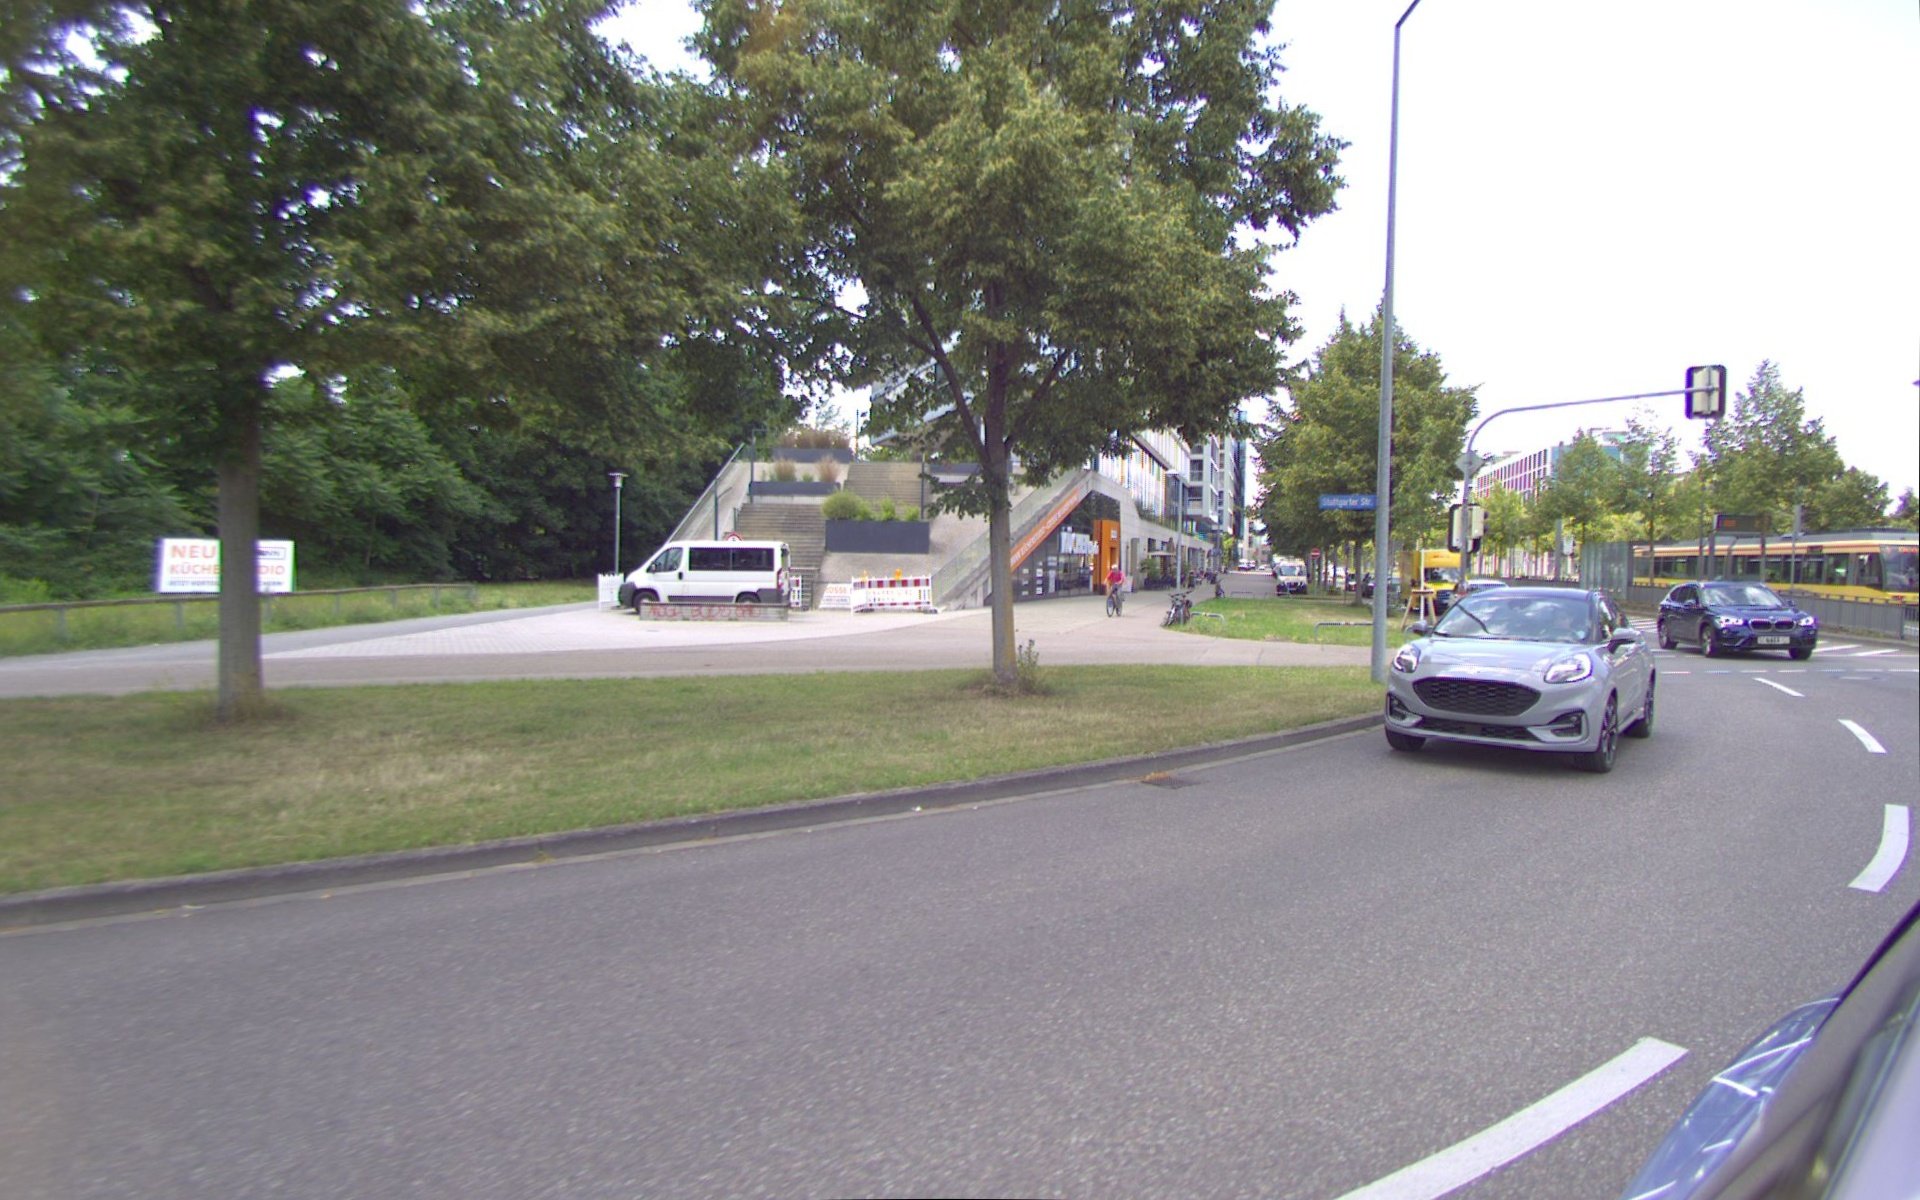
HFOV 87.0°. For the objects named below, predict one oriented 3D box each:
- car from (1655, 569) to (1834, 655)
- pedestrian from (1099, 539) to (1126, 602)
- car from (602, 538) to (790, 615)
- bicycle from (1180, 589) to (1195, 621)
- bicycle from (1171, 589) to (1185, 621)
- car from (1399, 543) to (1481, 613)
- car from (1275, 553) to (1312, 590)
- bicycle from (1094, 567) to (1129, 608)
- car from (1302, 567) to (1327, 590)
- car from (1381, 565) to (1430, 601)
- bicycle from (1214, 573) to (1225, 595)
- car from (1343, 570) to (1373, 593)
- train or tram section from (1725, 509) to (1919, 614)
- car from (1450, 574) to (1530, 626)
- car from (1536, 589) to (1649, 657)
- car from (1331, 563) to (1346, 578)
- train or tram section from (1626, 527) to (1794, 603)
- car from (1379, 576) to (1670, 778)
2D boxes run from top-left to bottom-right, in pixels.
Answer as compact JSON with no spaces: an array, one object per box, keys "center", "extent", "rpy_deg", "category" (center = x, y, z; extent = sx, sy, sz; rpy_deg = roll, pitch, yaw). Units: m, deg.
[{"center":[17.053,0.191,22.242],"extent":[1.751,1.618,4.106],"rpy_deg":[-1,2,17],"category":"car"},{"center":[5.046,-0.994,33.413],"extent":[0.744,2.038,1.226],"rpy_deg":[0,2,16],"category":"pedestrian"},{"center":[-7.721,-0.694,29.960],"extent":[5.052,2.174,2.150],"rpy_deg":[0,1,-1],"category":"car"},{"center":[6.343,0.140,28.227],"extent":[0.353,0.836,1.469],"rpy_deg":[1,2,12],"category":"bicycle"},{"center":[6.172,0.132,28.654],"extent":[0.353,0.836,1.469],"rpy_deg":[1,2,12],"category":"bicycle"},{"center":[21.549,-1.042,45.792],"extent":[2.254,2.888,7.218],"rpy_deg":[1,2,17],"category":"car"},{"center":[23.547,-2.048,71.281],"extent":[2.137,2.423,6.235],"rpy_deg":[-1,2,22],"category":"car"},{"center":[5.008,-0.443,33.298],"extent":[0.801,1.259,2.400],"rpy_deg":[2,3,16],"category":"bicycle"},{"center":[27.681,-1.669,79.030],"extent":[1.802,1.671,3.975],"rpy_deg":[-1,2,20],"category":"car"},{"center":[23.646,-0.950,53.886],"extent":[1.974,1.783,4.271],"rpy_deg":[-1,2,19],"category":"car"},{"center":[13.368,-0.833,52.092],"extent":[0.509,1.102,1.742],"rpy_deg":[2,2,14],"category":"bicycle"},{"center":[31.522,-1.453,80.192],"extent":[1.974,1.712,4.271],"rpy_deg":[-1,2,19],"category":"car"},{"center":[37.088,-1.576,42.900],"extent":[2.813,3.786,13.407],"rpy_deg":[1,2,17],"category":"train or tram section"},{"center":[17.830,-0.051,34.225],"extent":[1.652,1.618,4.105],"rpy_deg":[-1,1,17],"category":"car"},{"center":[13.897,0.439,22.427],"extent":[1.658,1.277,4.056],"rpy_deg":[1,2,26],"category":"car"},{"center":[53.522,-4.218,143.040],"extent":[1.976,2.038,3.972],"rpy_deg":[-1,2,22],"category":"car"},{"center":[41.145,-1.918,56.352],"extent":[2.658,3.683,14.589],"rpy_deg":[1,2,17],"category":"train or tram section"},{"center":[5.646,0.547,9.876],"extent":[1.668,1.489,4.032],"rpy_deg":[2,3,41],"category":"car"}]
